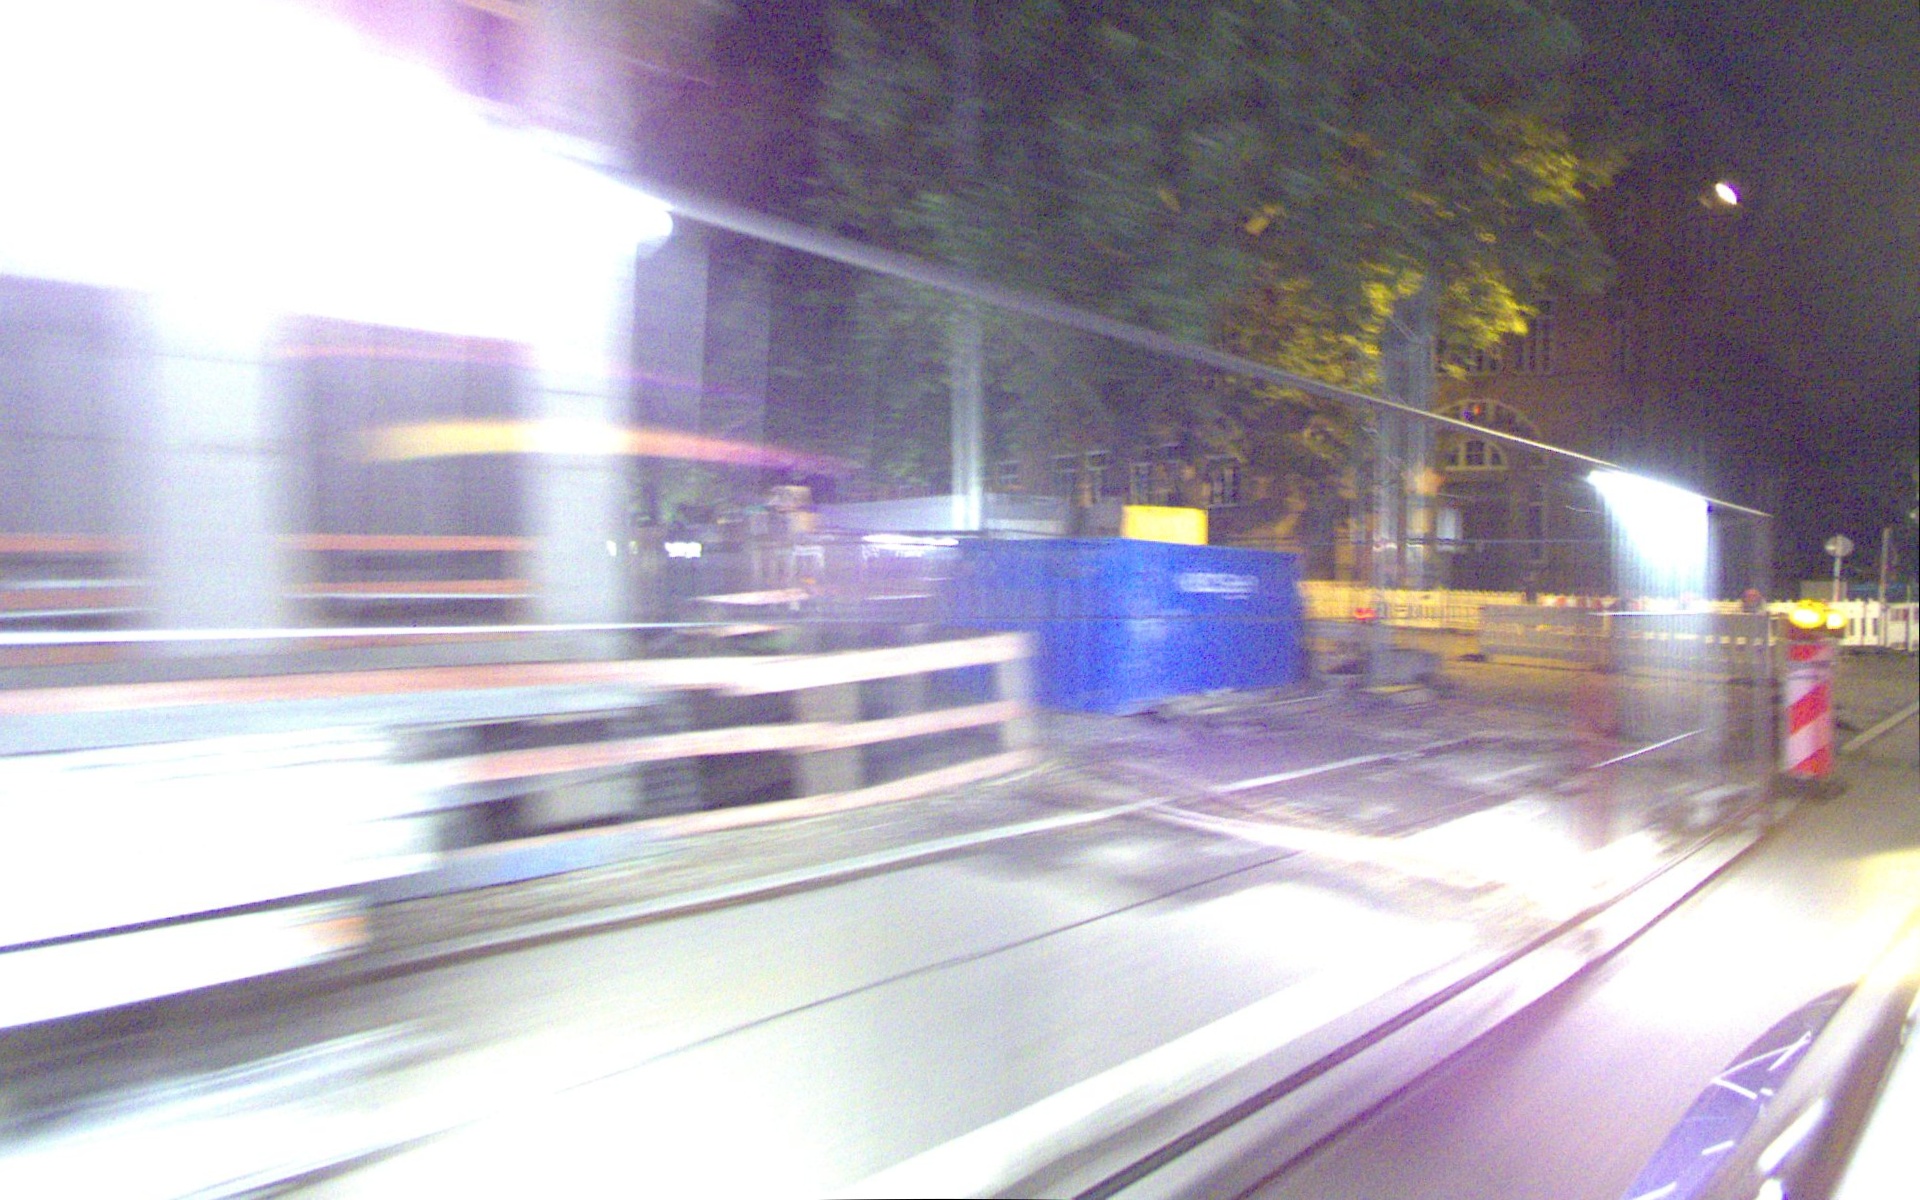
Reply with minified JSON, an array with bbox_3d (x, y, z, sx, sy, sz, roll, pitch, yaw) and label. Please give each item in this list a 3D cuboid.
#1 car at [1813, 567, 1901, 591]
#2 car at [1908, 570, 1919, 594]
[{"bbox_3d":[59.401,-1.424,67.079,1.821,1.485,4.197,-2,4,-43],"label":"car"},{"bbox_3d":[61.690,-1.119,62.816,1.821,1.439,4.021,-4,4,-41],"label":"car"}]
